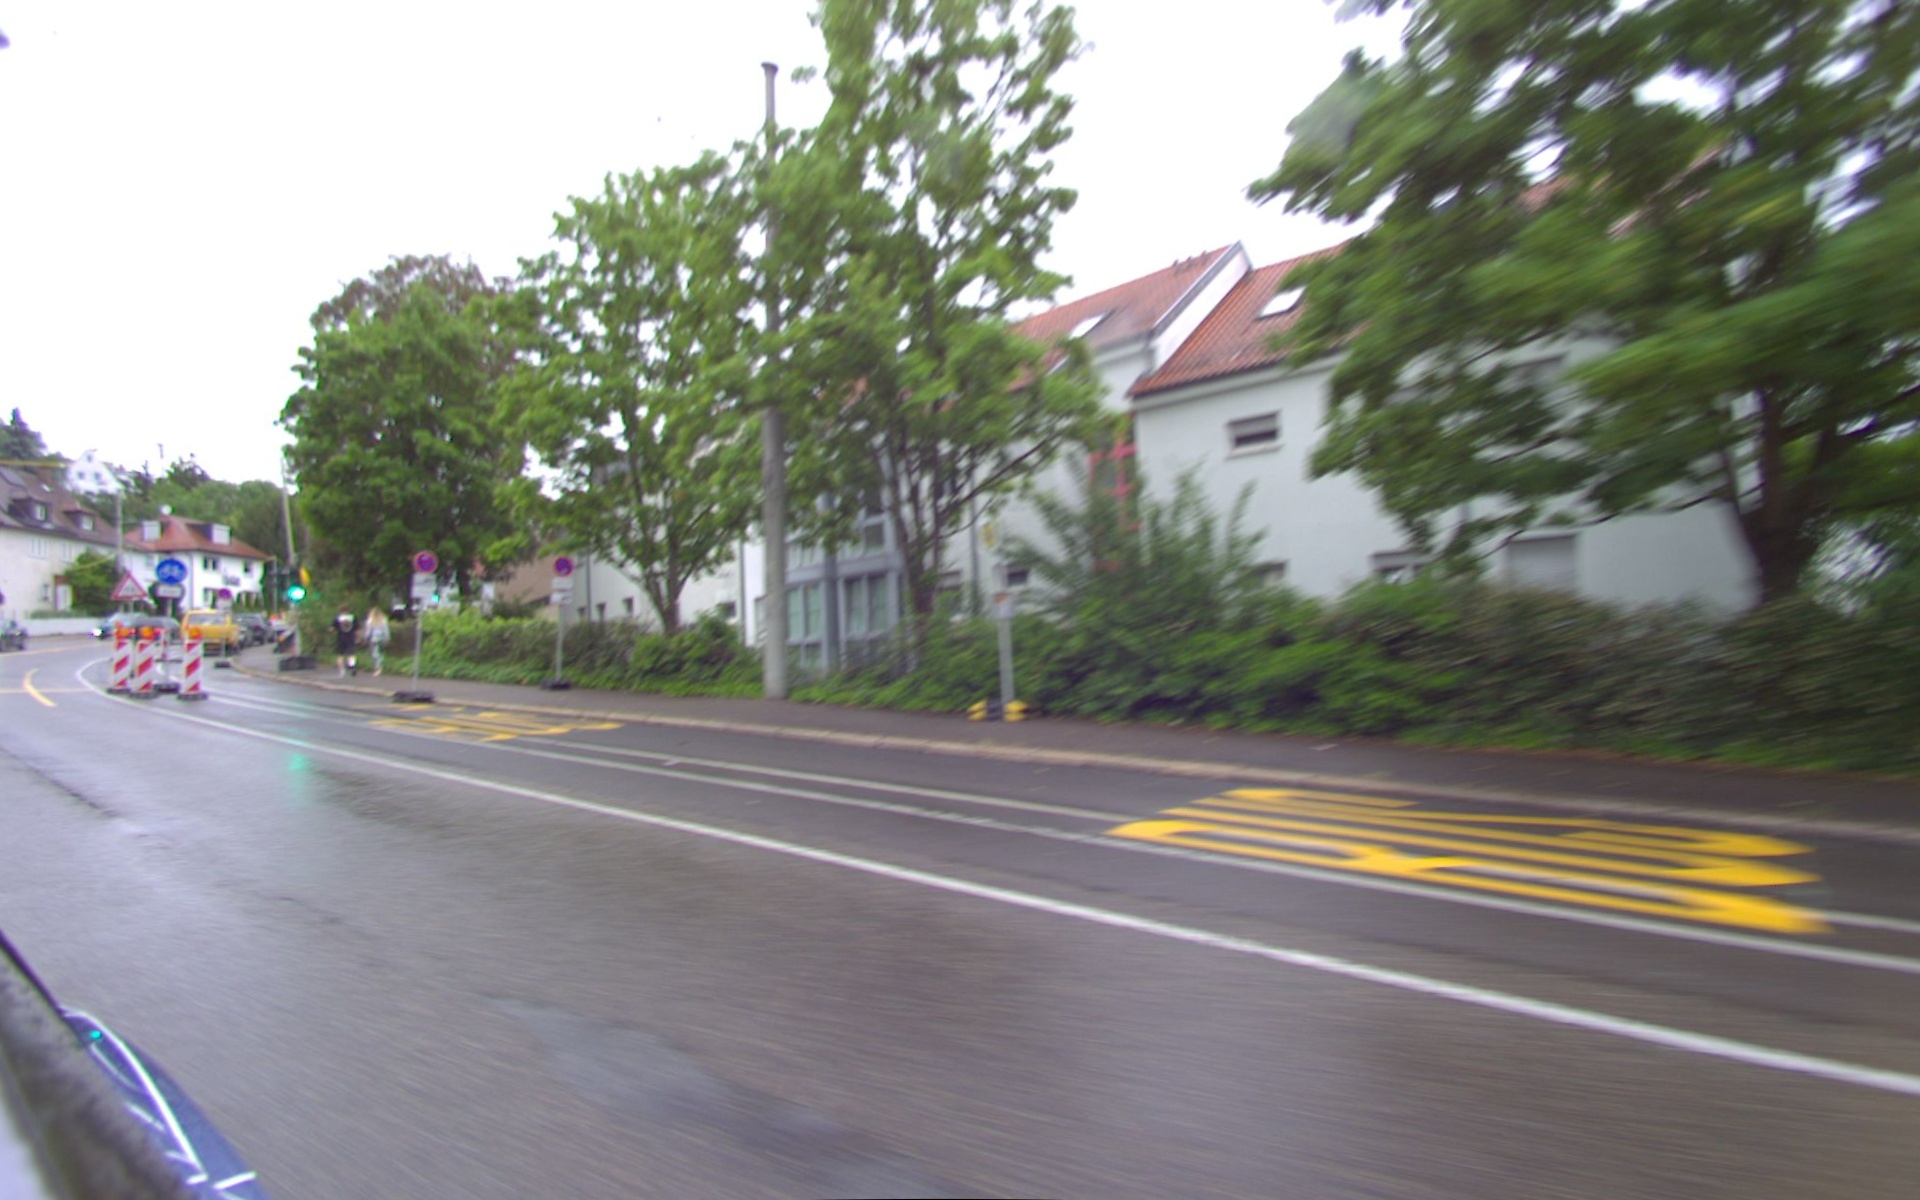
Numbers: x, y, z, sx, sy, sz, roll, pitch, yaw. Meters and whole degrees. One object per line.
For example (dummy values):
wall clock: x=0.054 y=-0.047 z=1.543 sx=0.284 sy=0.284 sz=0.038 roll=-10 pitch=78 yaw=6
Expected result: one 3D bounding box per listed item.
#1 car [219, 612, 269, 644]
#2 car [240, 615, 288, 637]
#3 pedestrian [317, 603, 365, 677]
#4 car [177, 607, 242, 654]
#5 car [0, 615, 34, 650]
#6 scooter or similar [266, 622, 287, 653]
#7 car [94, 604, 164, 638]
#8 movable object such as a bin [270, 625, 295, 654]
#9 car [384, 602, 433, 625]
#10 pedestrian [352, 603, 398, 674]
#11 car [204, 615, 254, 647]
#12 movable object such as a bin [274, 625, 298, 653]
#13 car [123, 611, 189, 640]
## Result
car: x=-38.672 y=1.488 z=54.714 sx=1.696 sy=1.620 sz=4.477 roll=0 pitch=-1 yaw=-29
car: x=-47.725 y=1.794 z=69.485 sx=1.675 sy=1.472 sz=3.947 roll=1 pitch=-2 yaw=-19
pedestrian: x=-15.837 y=1.021 z=25.887 sx=1.146 sy=1.830 sz=0.700 roll=-3 pitch=-2 yaw=40
car: x=-33.084 y=1.317 z=44.697 sx=1.778 sy=1.942 sz=4.591 roll=2 pitch=-2 yaw=-31
car: x=-42.377 y=1.404 z=43.938 sx=1.955 sy=1.447 sz=4.530 roll=0 pitch=0 yaw=-25
scooter or similar: x=-29.155 y=1.591 z=43.149 sx=0.393 sy=1.269 sz=1.322 roll=-3 pitch=1 yaw=-21
car: x=-50.176 y=1.247 z=61.202 sx=1.982 sy=1.954 sz=4.013 roll=0 pitch=0 yaw=-19
movable object such as a bin: x=-28.423 y=1.657 z=42.485 sx=0.847 sy=1.149 sz=0.714 roll=0 pitch=0 yaw=-33
car: x=-46.286 y=1.124 z=85.048 sx=1.785 sy=1.814 sz=4.463 roll=0 pitch=-1 yaw=-1
pedestrian: x=-15.435 y=1.012 z=26.694 sx=1.154 sy=1.830 sz=0.674 roll=-3 pitch=-2 yaw=40
car: x=-36.058 y=1.493 z=49.961 sx=1.552 sy=1.465 sz=3.475 roll=1 pitch=-1 yaw=-29
movable object such as a bin: x=-28.743 y=1.651 z=43.173 sx=0.847 sy=1.149 sz=0.714 roll=0 pitch=0 yaw=-33
car: x=-43.476 y=1.413 z=54.821 sx=1.675 sy=1.472 sz=4.699 roll=2 pitch=-2 yaw=-25
